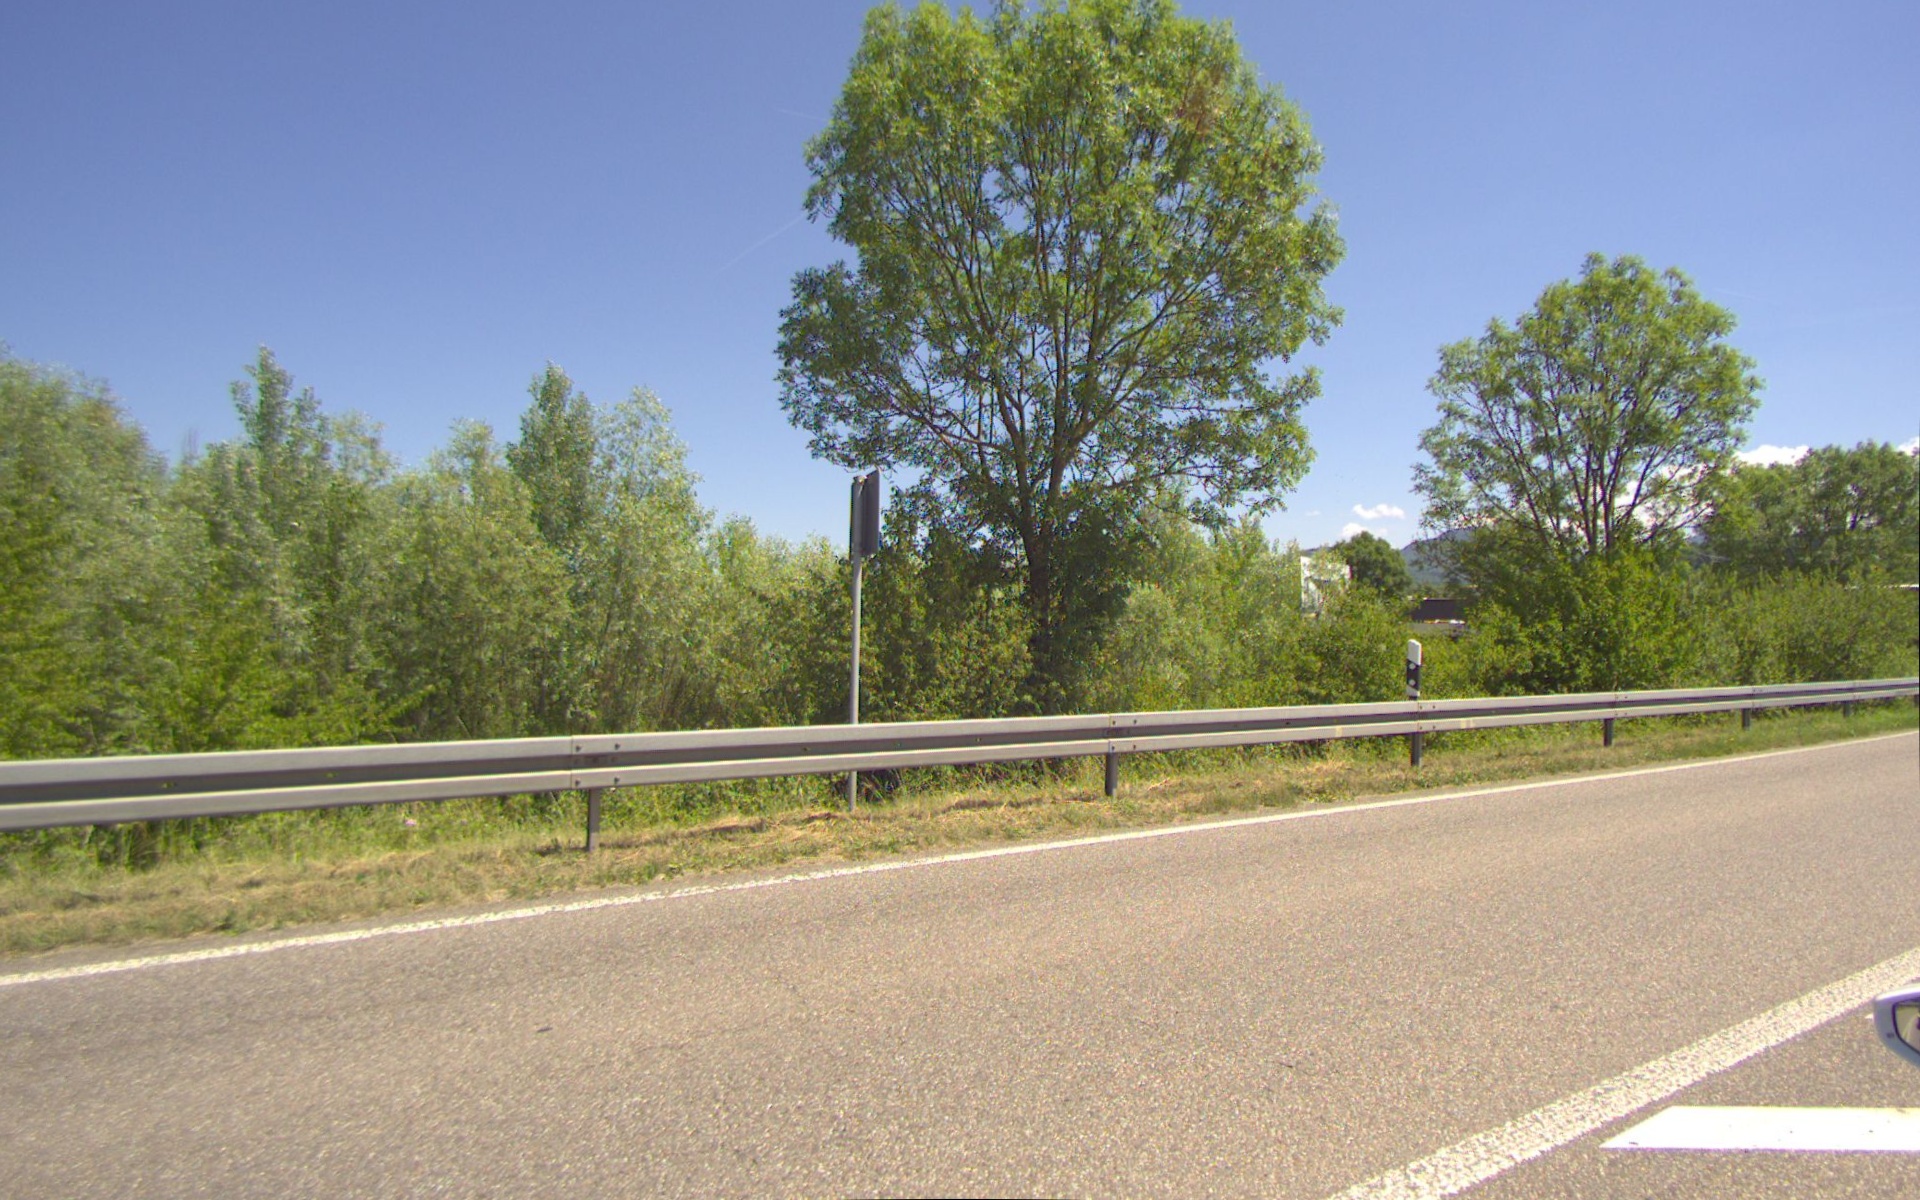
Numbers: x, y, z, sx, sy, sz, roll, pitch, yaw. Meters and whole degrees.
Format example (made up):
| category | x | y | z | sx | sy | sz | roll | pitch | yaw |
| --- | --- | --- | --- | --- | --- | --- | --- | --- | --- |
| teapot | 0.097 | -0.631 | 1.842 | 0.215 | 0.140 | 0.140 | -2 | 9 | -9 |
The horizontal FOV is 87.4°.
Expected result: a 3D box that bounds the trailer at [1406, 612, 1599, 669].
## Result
| category | x | y | z | sx | sy | sz | roll | pitch | yaw |
| --- | --- | --- | --- | --- | --- | --- | --- | --- | --- |
| trailer | 36.852 | 2.832 | 69.075 | 2.207 | 3.550 | 12.263 | 0 | -2 | -30 |
